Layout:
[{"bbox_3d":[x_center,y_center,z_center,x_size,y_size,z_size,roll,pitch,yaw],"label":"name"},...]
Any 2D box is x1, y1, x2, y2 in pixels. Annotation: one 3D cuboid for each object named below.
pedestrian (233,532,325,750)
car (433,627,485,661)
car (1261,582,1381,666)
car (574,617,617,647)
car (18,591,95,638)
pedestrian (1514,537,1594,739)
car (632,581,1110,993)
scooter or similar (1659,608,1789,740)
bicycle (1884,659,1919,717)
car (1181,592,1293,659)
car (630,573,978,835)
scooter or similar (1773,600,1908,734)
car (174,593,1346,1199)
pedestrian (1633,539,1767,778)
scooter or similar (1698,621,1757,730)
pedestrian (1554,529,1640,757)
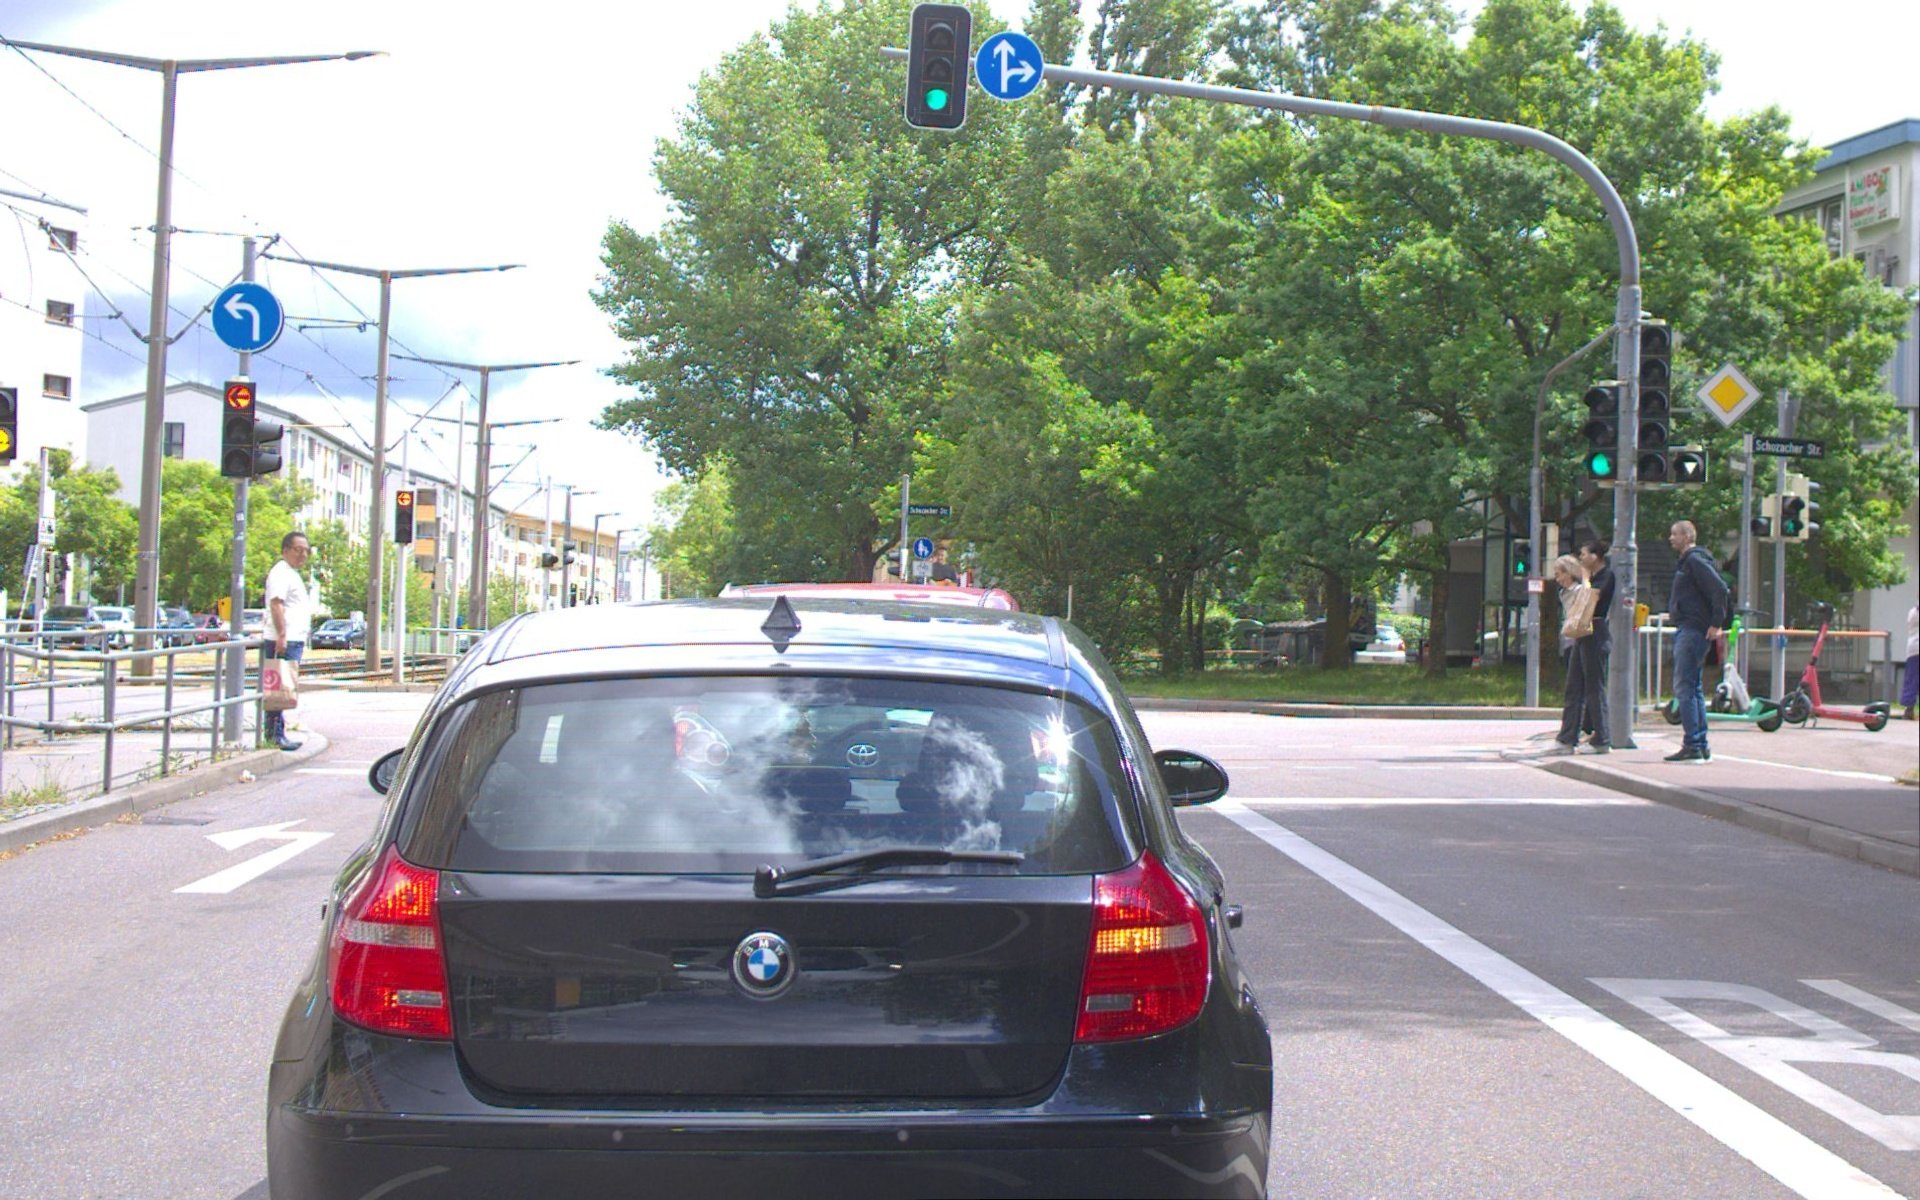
[{"bbox_3d":[-5.468,0.325,27.637,0.687,1.728,0.688,0,0,-9],"label":"pedestrian"},{"bbox_3d":[-24.140,2.107,165.803,1.651,1.529,3.871,1,0,4],"label":"car"},{"bbox_3d":[8.337,0.540,79.706,1.726,1.865,4.001,1,0,-9],"label":"car"},{"bbox_3d":[-19.332,1.694,182.447,1.651,1.529,3.871,1,0,3],"label":"car"},{"bbox_3d":[-29.394,0.452,111.925,1.591,1.469,3.775,1,0,-2],"label":"car"},{"bbox_3d":[5.254,0.332,30.432,0.636,1.760,0.518,1,0,6],"label":"pedestrian"},{"bbox_3d":[-0.329,0.640,13.642,1.638,1.395,3.420,1,0,-1],"label":"car"},{"bbox_3d":[7.333,0.702,33.025,1.110,1.231,0.539,1,0,2],"label":"scooter or similar"},{"bbox_3d":[10.735,0.983,37.286,0.532,0.608,1.591,2,0,-20],"label":"bicycle"},{"bbox_3d":[7.273,0.653,90.694,1.862,1.656,4.001,1,0,-11],"label":"car"},{"bbox_3d":[-0.891,0.557,21.287,1.900,1.417,4.539,1,0,-1],"label":"car"},{"bbox_3d":[8.678,0.658,33.907,1.150,1.268,0.555,2,0,2],"label":"scooter or similar"},{"bbox_3d":[-0.315,0.708,6.739,1.700,1.395,3.420,1,0,-1],"label":"car"},{"bbox_3d":[5.904,0.454,27.468,1.010,1.870,0.797,1,0,11],"label":"pedestrian"},{"bbox_3d":[7.798,0.756,34.911,0.548,1.060,1.261,1,0,13],"label":"scooter or similar"},{"bbox_3d":[5.297,0.351,28.613,0.636,1.870,0.518,1,0,6],"label":"pedestrian"}]
